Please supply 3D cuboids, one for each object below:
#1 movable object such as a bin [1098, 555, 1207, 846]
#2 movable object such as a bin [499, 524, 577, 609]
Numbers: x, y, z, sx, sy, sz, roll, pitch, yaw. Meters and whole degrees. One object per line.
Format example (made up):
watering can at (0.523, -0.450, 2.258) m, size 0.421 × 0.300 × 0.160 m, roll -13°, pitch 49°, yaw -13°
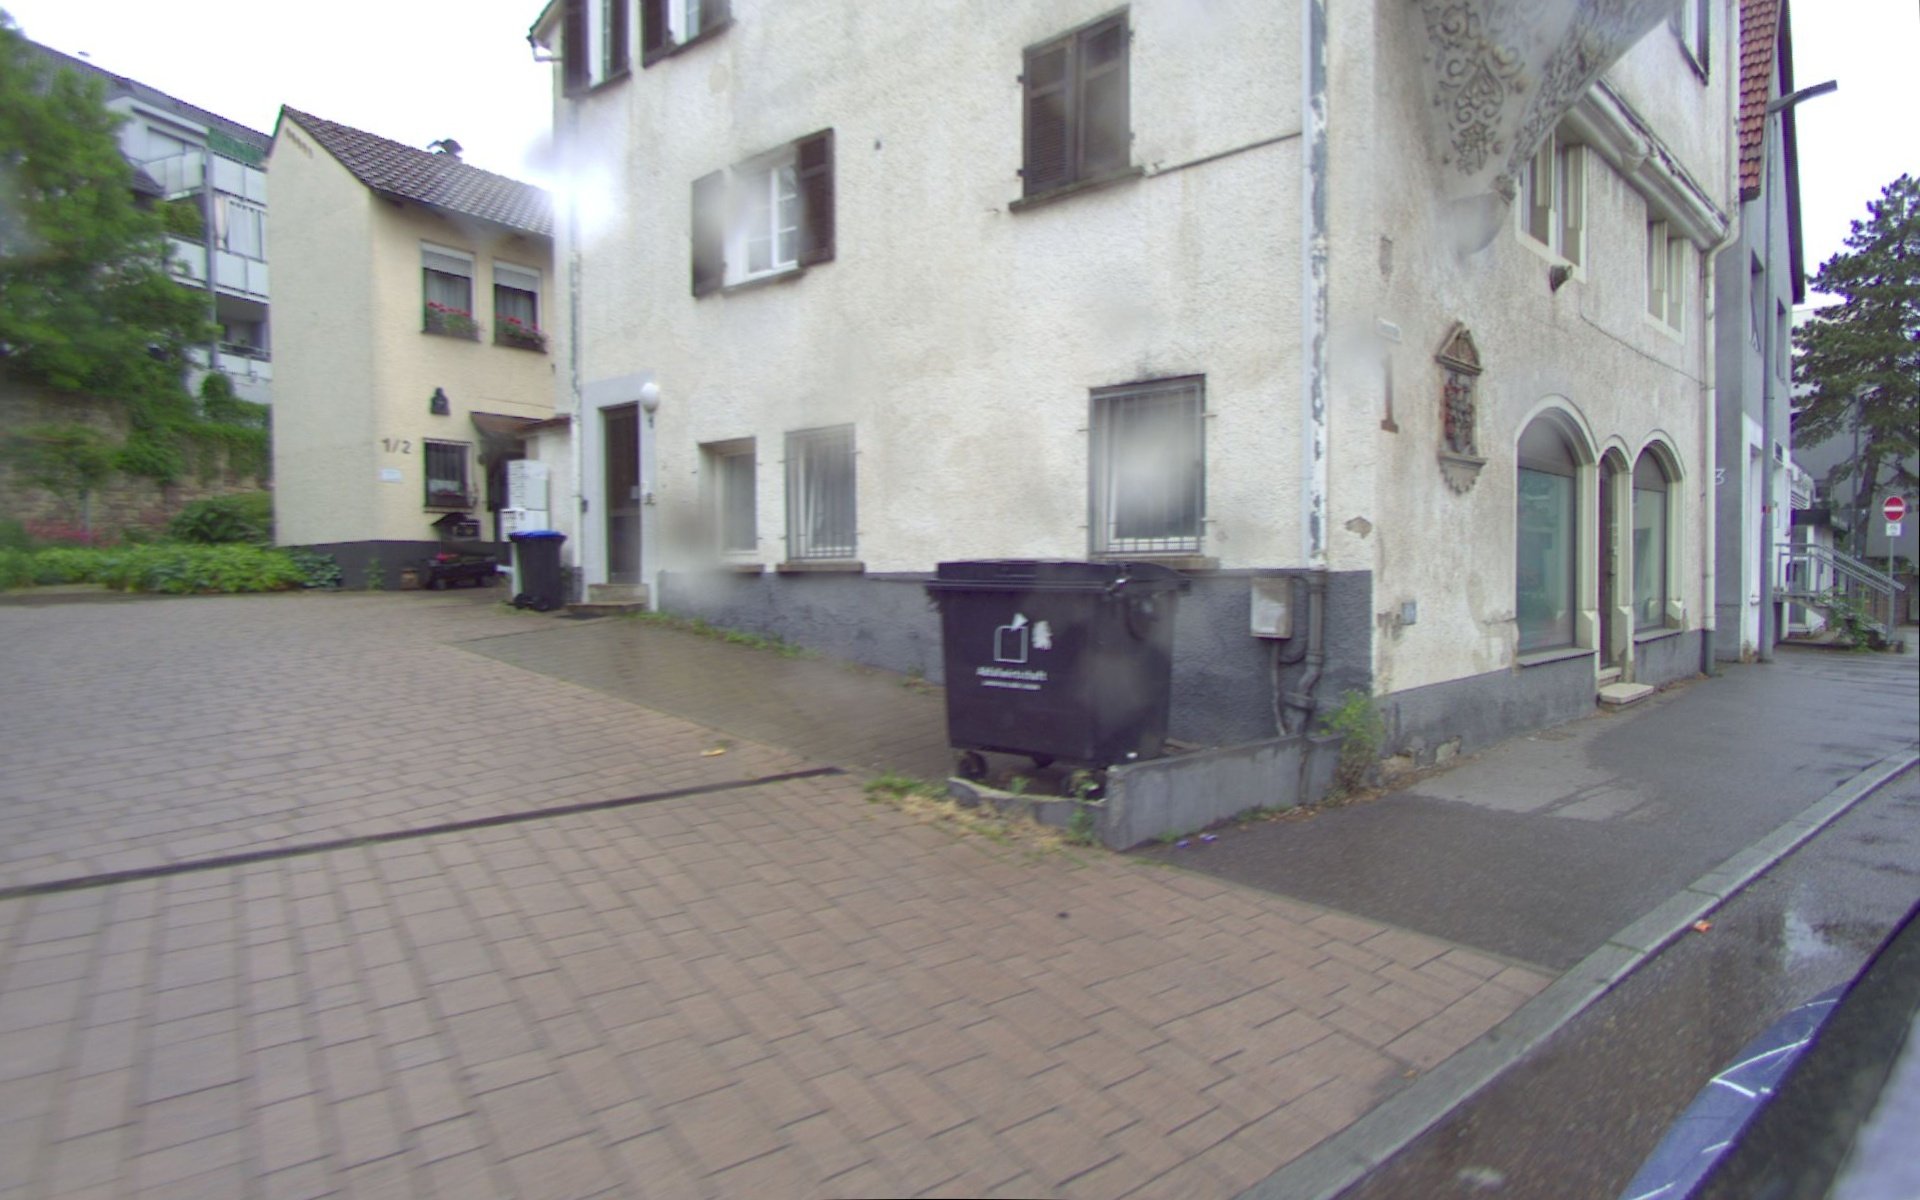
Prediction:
movable object such as a bin at (1.055, 0.495, 5.480) m, size 0.409 × 1.459 × 0.639 m, roll 0°, pitch 3°, yaw 27°
movable object such as a bin at (-4.970, -0.411, 11.924) m, size 0.656 × 0.932 × 0.585 m, roll 5°, pitch 8°, yaw 42°
